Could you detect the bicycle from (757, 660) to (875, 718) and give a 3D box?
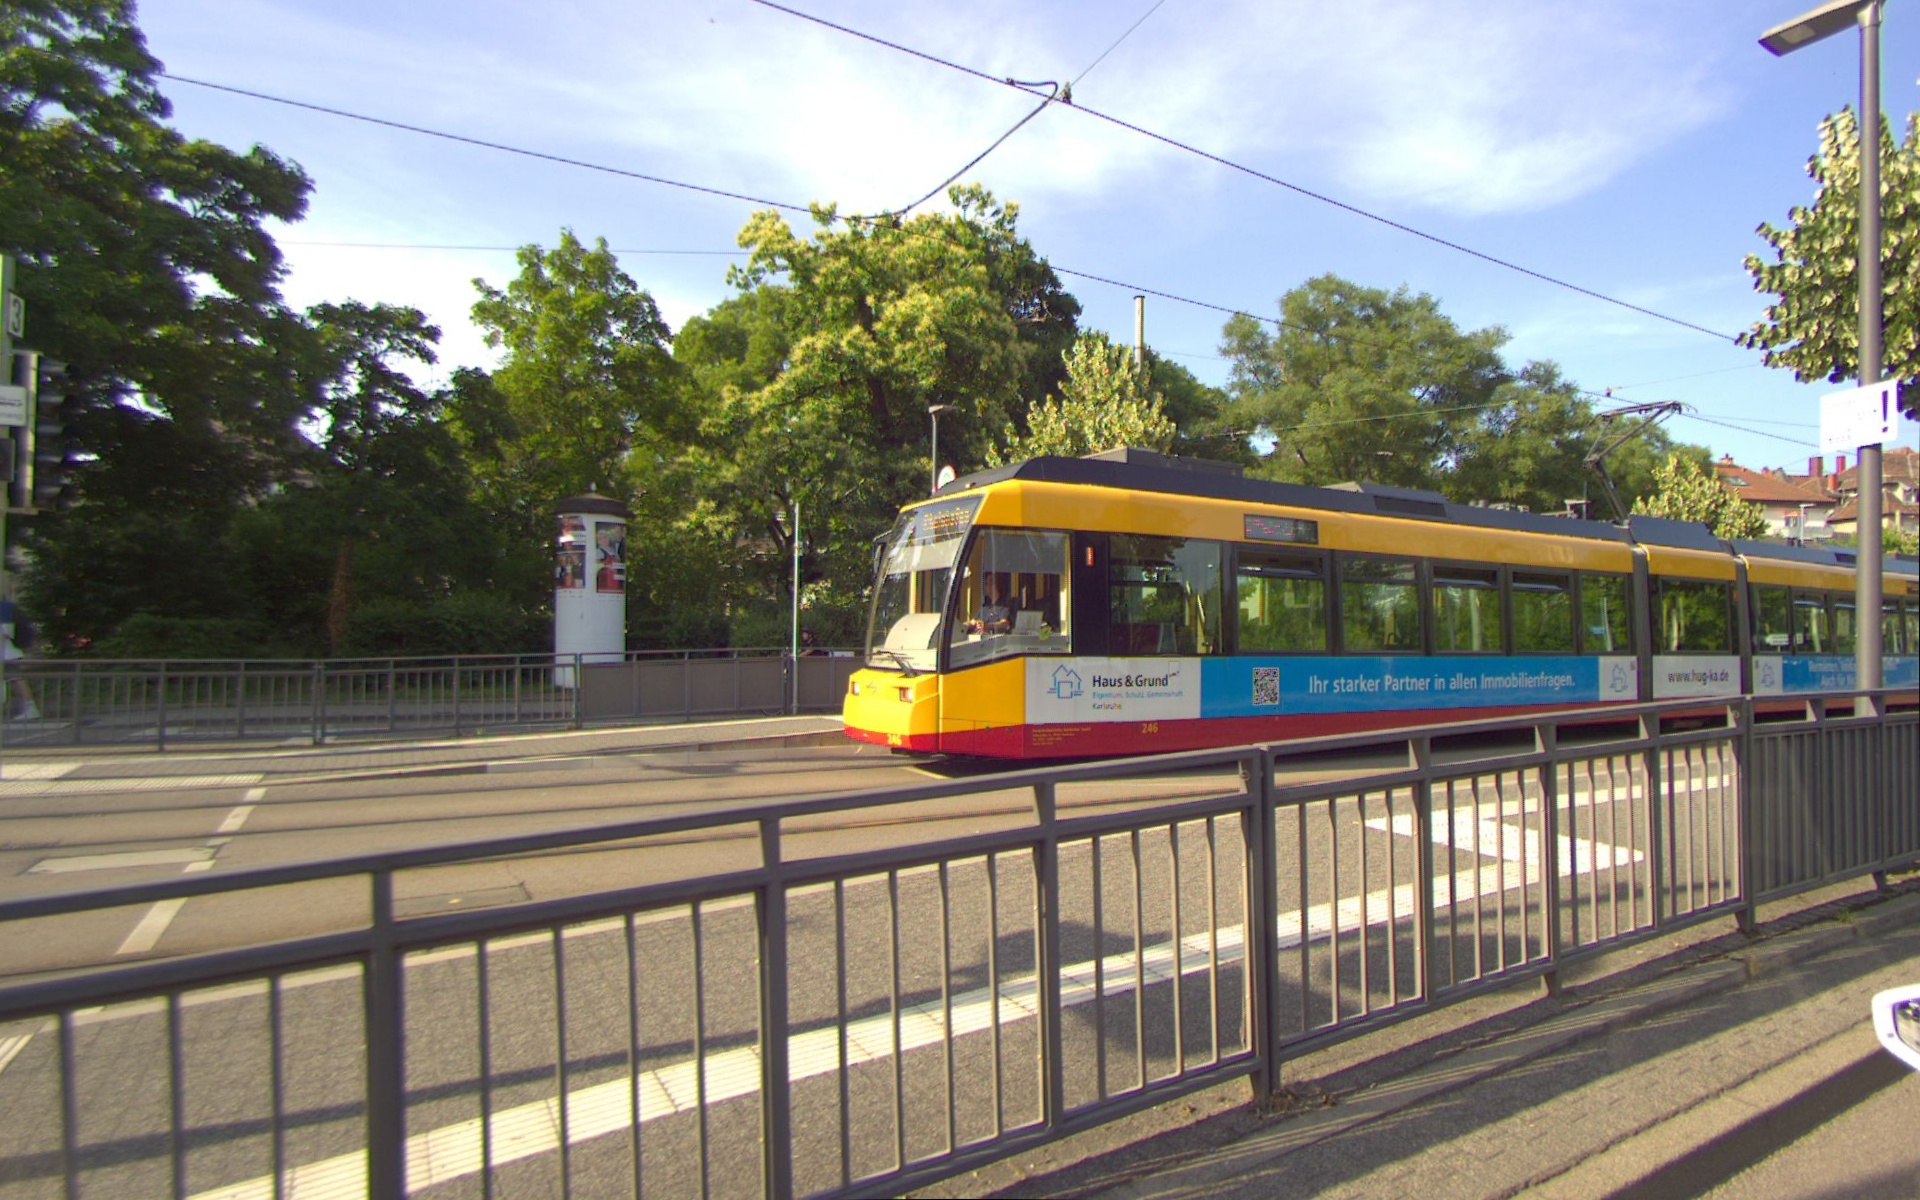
[{"bbox_3d":[-2.784,1.713,19.573,2.221,1.032,0.540,1,-1,-27],"label":"bicycle"}]

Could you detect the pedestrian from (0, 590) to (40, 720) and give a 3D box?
[{"bbox_3d":[-14.540,0.815,15.325,0.703,1.935,0.993,1,0,-42],"label":"pedestrian"}]

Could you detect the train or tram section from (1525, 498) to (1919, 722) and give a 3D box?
[{"bbox_3d":[17.392,0.294,20.839,14.302,3.525,3.147,1,-1,-30],"label":"train or tram section"}]

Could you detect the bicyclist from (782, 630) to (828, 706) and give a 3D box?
[{"bbox_3d":[-2.997,1.299,19.395,0.708,1.432,0.648,1,-1,-27],"label":"bicyclist"}]

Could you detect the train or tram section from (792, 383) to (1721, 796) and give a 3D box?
[{"bbox_3d":[5.076,0.044,13.610,14.362,3.525,3.147,1,-1,-30],"label":"train or tram section"}]
